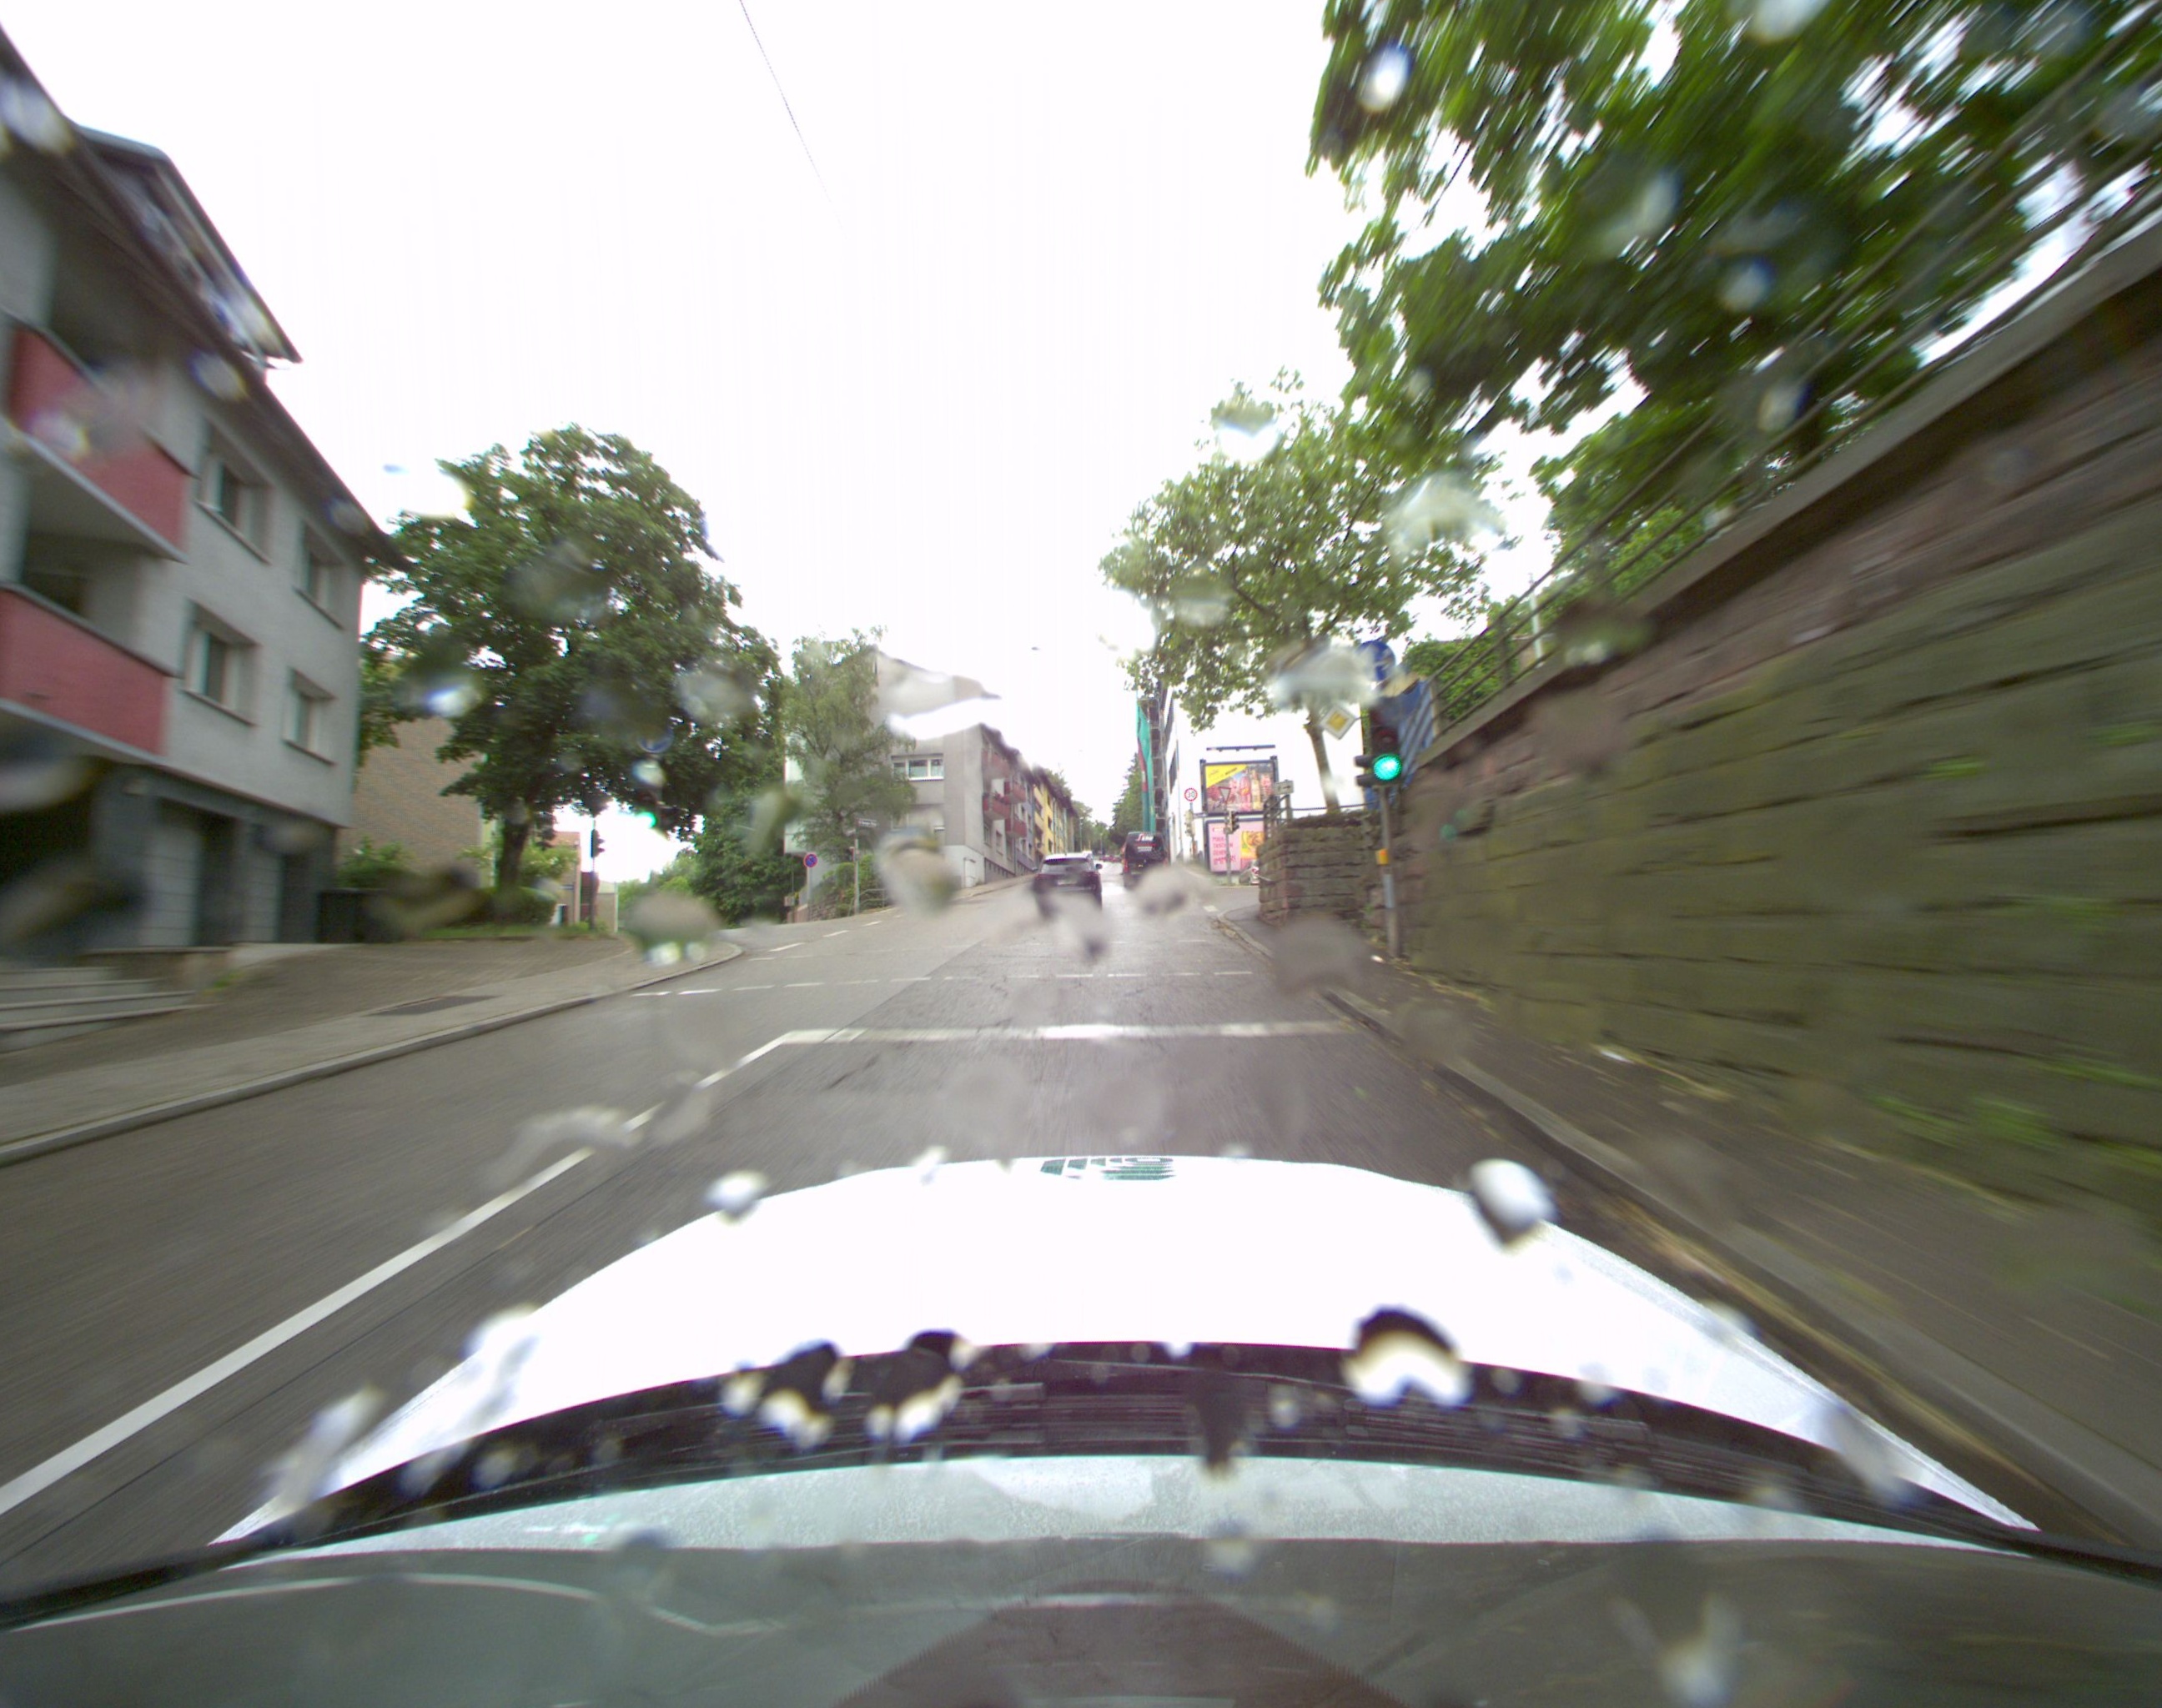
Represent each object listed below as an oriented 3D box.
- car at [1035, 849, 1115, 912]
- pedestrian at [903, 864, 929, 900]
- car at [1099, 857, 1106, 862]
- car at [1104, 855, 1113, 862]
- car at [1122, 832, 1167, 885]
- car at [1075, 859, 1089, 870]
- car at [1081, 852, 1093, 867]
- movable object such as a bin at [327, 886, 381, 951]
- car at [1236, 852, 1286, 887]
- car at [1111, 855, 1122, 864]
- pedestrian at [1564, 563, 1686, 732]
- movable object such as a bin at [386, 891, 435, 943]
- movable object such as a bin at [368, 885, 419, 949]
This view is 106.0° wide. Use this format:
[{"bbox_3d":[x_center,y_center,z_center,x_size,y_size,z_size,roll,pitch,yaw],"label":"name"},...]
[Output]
[{"bbox_3d":[-0.073,0.665,22.772,1.985,1.559,4.003,-1,0,3],"label":"car"},{"bbox_3d":[-7.050,1.202,34.856,0.866,1.541,1.087,-1,-3,-1],"label":"pedestrian"},{"bbox_3d":[6.635,1.698,248.626,2.067,1.559,4.001,-2,0,1],"label":"car"},{"bbox_3d":[6.510,1.014,193.074,2.067,1.559,4.001,-2,0,1],"label":"car"},{"bbox_3d":[3.066,0.306,40.397,1.985,2.414,5.839,-1,-2,3],"label":"car"},{"bbox_3d":[0.242,1.684,126.988,1.983,1.585,4.306,-3,0,1],"label":"car"},{"bbox_3d":[1.093,0.960,143.646,1.983,2.475,5.786,-3,0,2],"label":"car"},{"bbox_3d":[-13.940,1.216,15.636,0.562,1.200,0.683,0,-3,-24],"label":"movable object such as a bin"},{"bbox_3d":[8.237,0.658,37.495,1.555,1.484,4.003,-1,0,3],"label":"car"},{"bbox_3d":[6.765,1.075,156.605,2.067,1.559,4.001,-2,0,1],"label":"car"},{"bbox_3d":[6.404,-2.377,9.604,0.783,1.677,0.864,-2,-4,-38],"label":"pedestrian"},{"bbox_3d":[-13.576,1.266,16.510,0.630,1.016,0.496,0,-3,-23],"label":"movable object such as a bin"},{"bbox_3d":[-13.412,1.218,15.894,0.562,1.200,0.683,0,-3,-24],"label":"movable object such as a bin"}]
